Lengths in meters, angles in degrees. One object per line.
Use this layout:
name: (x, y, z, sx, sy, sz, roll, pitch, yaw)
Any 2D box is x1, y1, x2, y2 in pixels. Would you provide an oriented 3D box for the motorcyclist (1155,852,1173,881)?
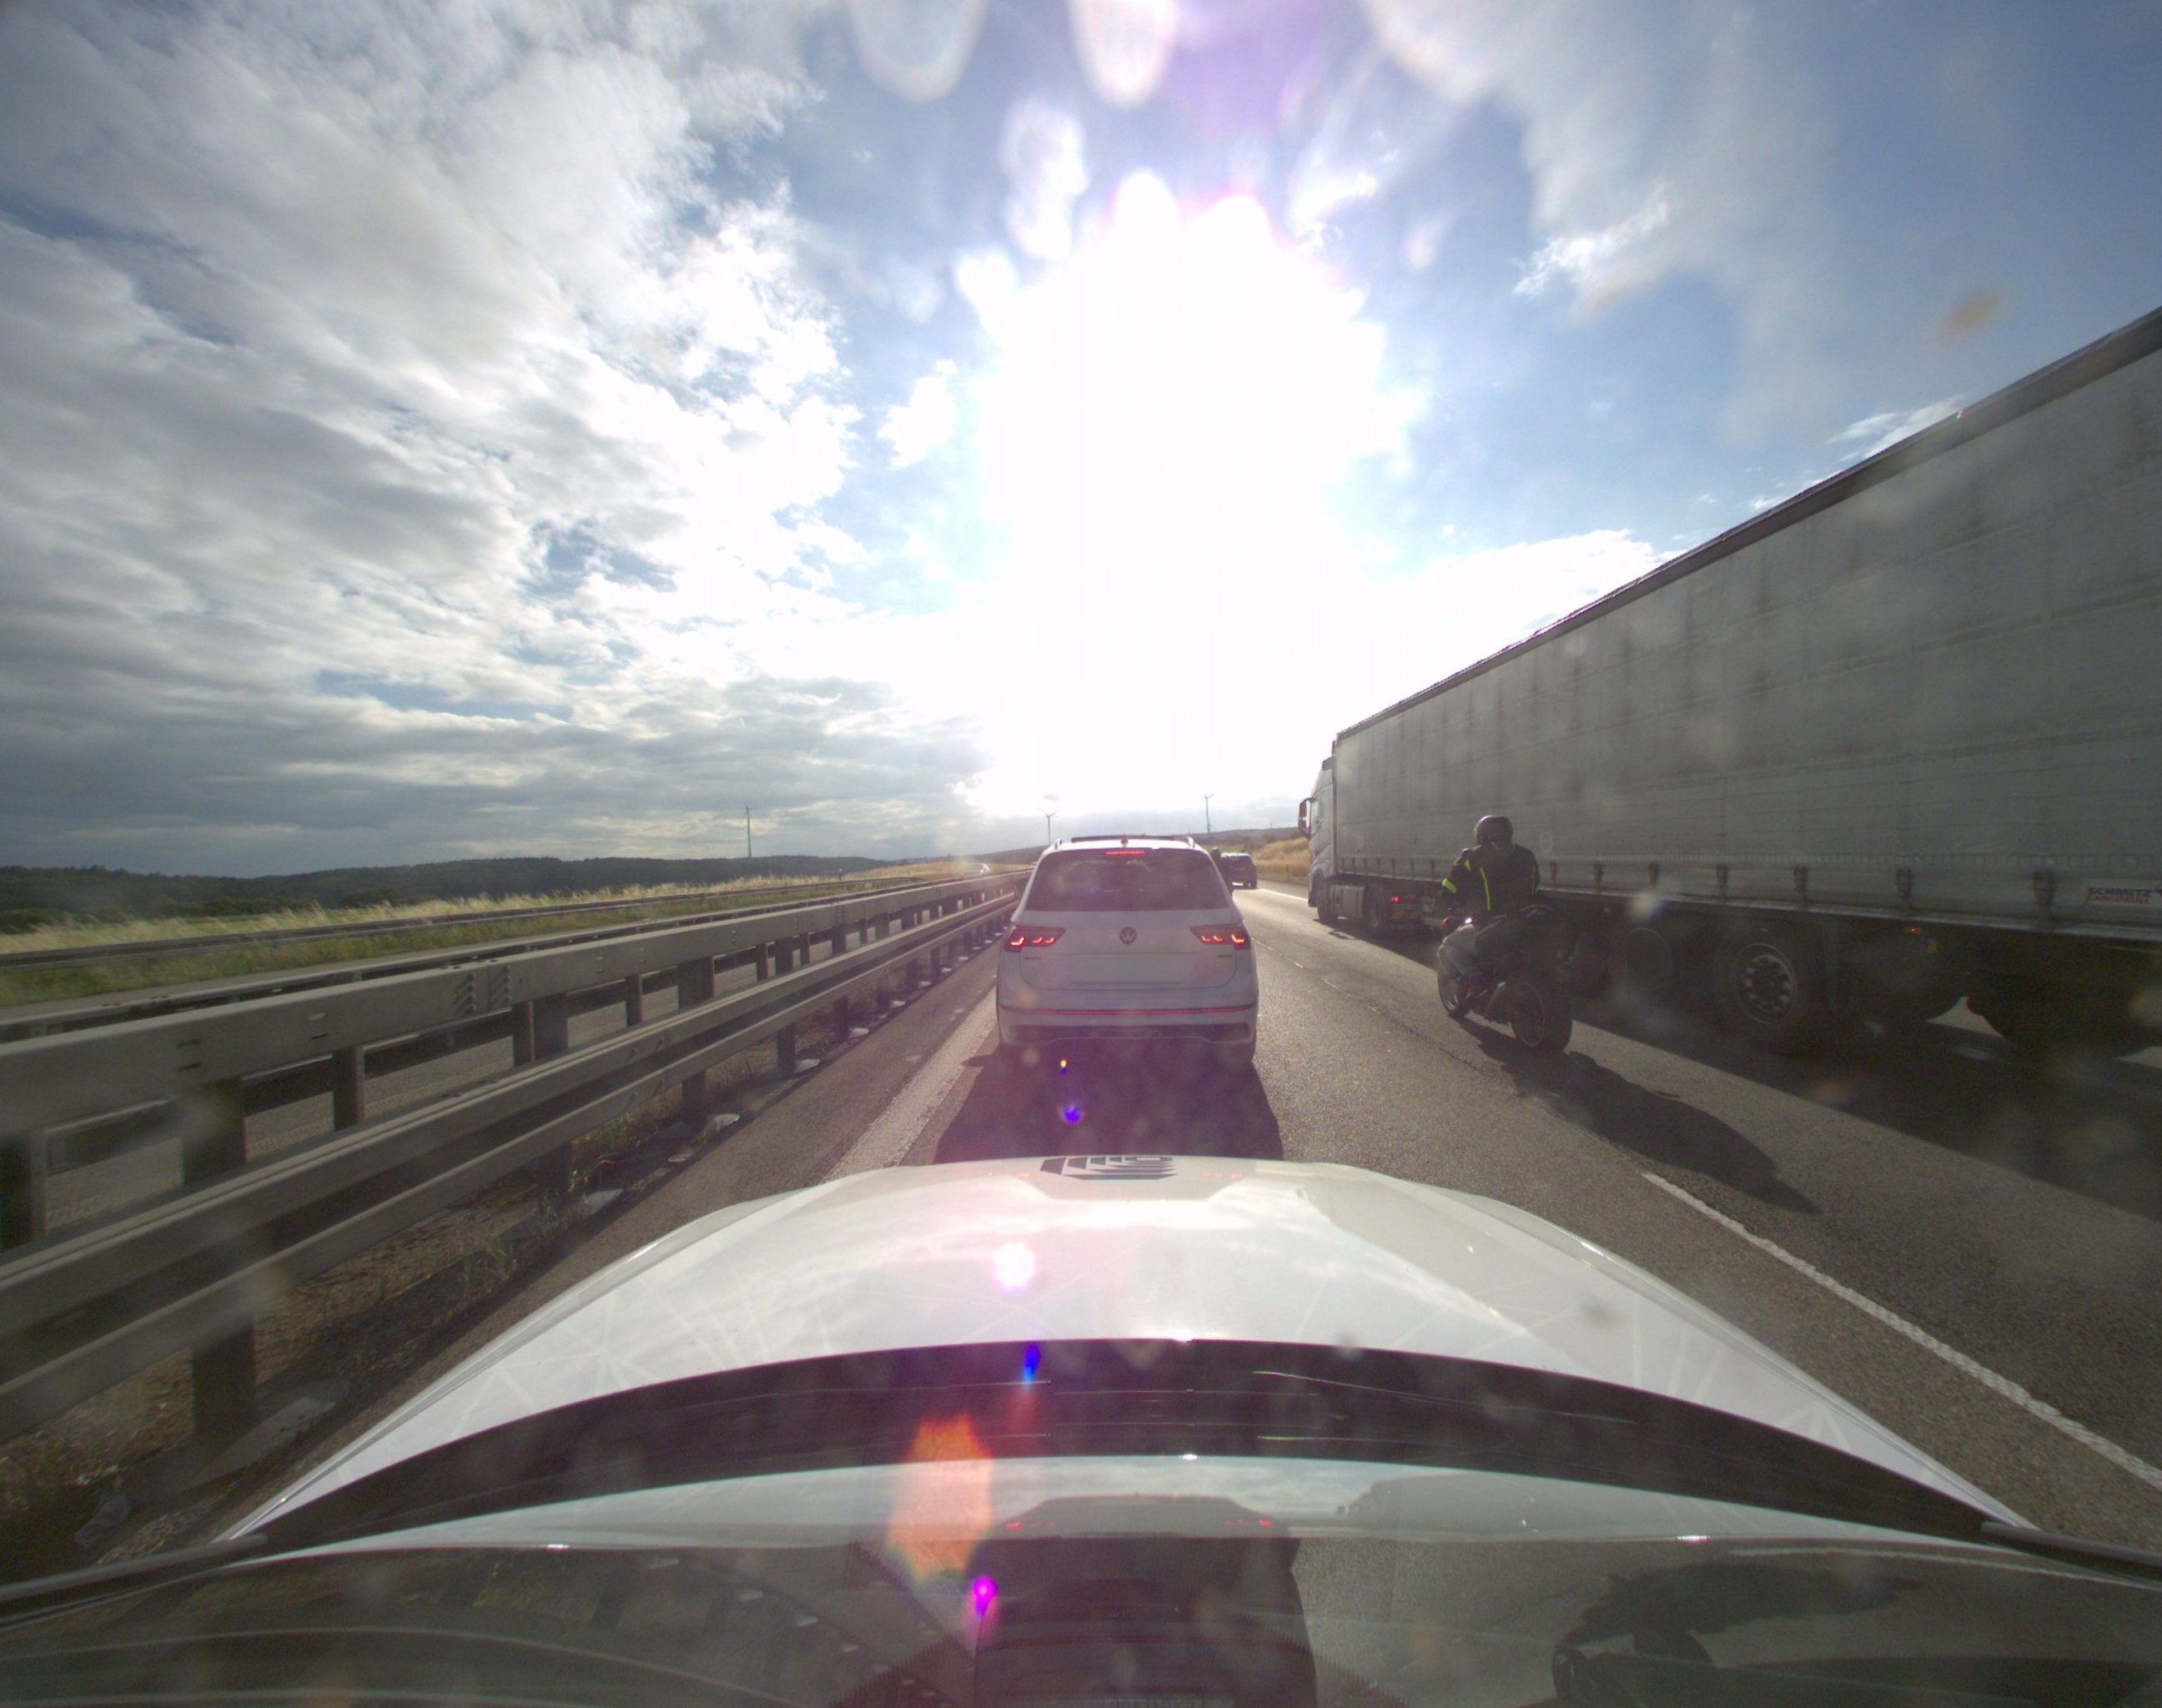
motorcyclist: (4.652, 0.690, 45.527, 0.892, 1.617, 1.022, -1, -1, 1)

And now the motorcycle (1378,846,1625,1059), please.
motorcycle: (3.324, 0.694, 6.772, 0.892, 1.455, 2.270, -1, -1, 1)

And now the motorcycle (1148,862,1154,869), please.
motorcycle: (12.994, 2.134, 150.767, 0.892, 1.190, 2.257, -1, -1, 1)

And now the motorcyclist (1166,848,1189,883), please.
motorcyclist: (4.175, 0.502, 35.378, 0.892, 1.456, 0.892, -1, -1, 1)

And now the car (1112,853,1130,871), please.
car: (3.946, 0.777, 80.124, 1.697, 1.650, 4.002, -1, -1, 2)

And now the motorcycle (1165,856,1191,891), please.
motorcycle: (4.194, 0.840, 35.353, 0.892, 1.455, 1.983, -1, -1, 1)

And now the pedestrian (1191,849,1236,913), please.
pedestrian: (3.093, 0.620, 19.133, 0.892, 1.456, 0.984, -1, -1, 1)

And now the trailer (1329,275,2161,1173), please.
trailer: (6.294, -0.580, 9.834, 2.607, 4.040, 13.701, -1, 0, 1)

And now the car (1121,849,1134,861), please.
car: (6.256, 0.134, 110.391, 1.697, 1.546, 4.002, -1, -1, 2)

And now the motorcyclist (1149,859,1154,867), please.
motorcyclist: (12.985, 1.641, 150.728, 0.846, 1.560, 0.934, -1, -1, 1)

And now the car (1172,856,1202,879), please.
car: (7.572, 0.956, 58.340, 1.697, 1.546, 4.002, -1, -1, 2)

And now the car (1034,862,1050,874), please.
car: (-4.931, 1.754, 103.307, 1.726, 1.485, 4.002, -1, -1, 2)

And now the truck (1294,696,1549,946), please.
truck: (6.377, -0.538, 16.388, 2.592, 4.040, 6.120, -1, 0, 1)

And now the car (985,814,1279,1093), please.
car: (0.378, 0.628, 6.984, 1.763, 1.675, 4.002, -1, -1, 2)

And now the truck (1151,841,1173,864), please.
truck: (13.505, -0.301, 136.320, 3.170, 3.594, 11.142, -1, 0, 4)

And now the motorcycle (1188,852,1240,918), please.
motorcycle: (3.107, 0.706, 19.252, 0.892, 1.455, 2.270, -1, -1, 1)

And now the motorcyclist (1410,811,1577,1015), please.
motorcyclist: (3.305, 0.449, 6.613, 0.892, 1.529, 0.864, -1, -1, 1)

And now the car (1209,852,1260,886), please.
car: (7.530, 0.719, 40.287, 1.815, 1.601, 4.235, 0, -1, 1)

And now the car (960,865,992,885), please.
car: (-7.968, 1.574, 61.937, 1.726, 1.485, 4.002, -1, -1, 2)

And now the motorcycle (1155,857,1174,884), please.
motorcycle: (4.662, 0.929, 45.542, 0.892, 1.455, 2.270, -1, -1, 1)
